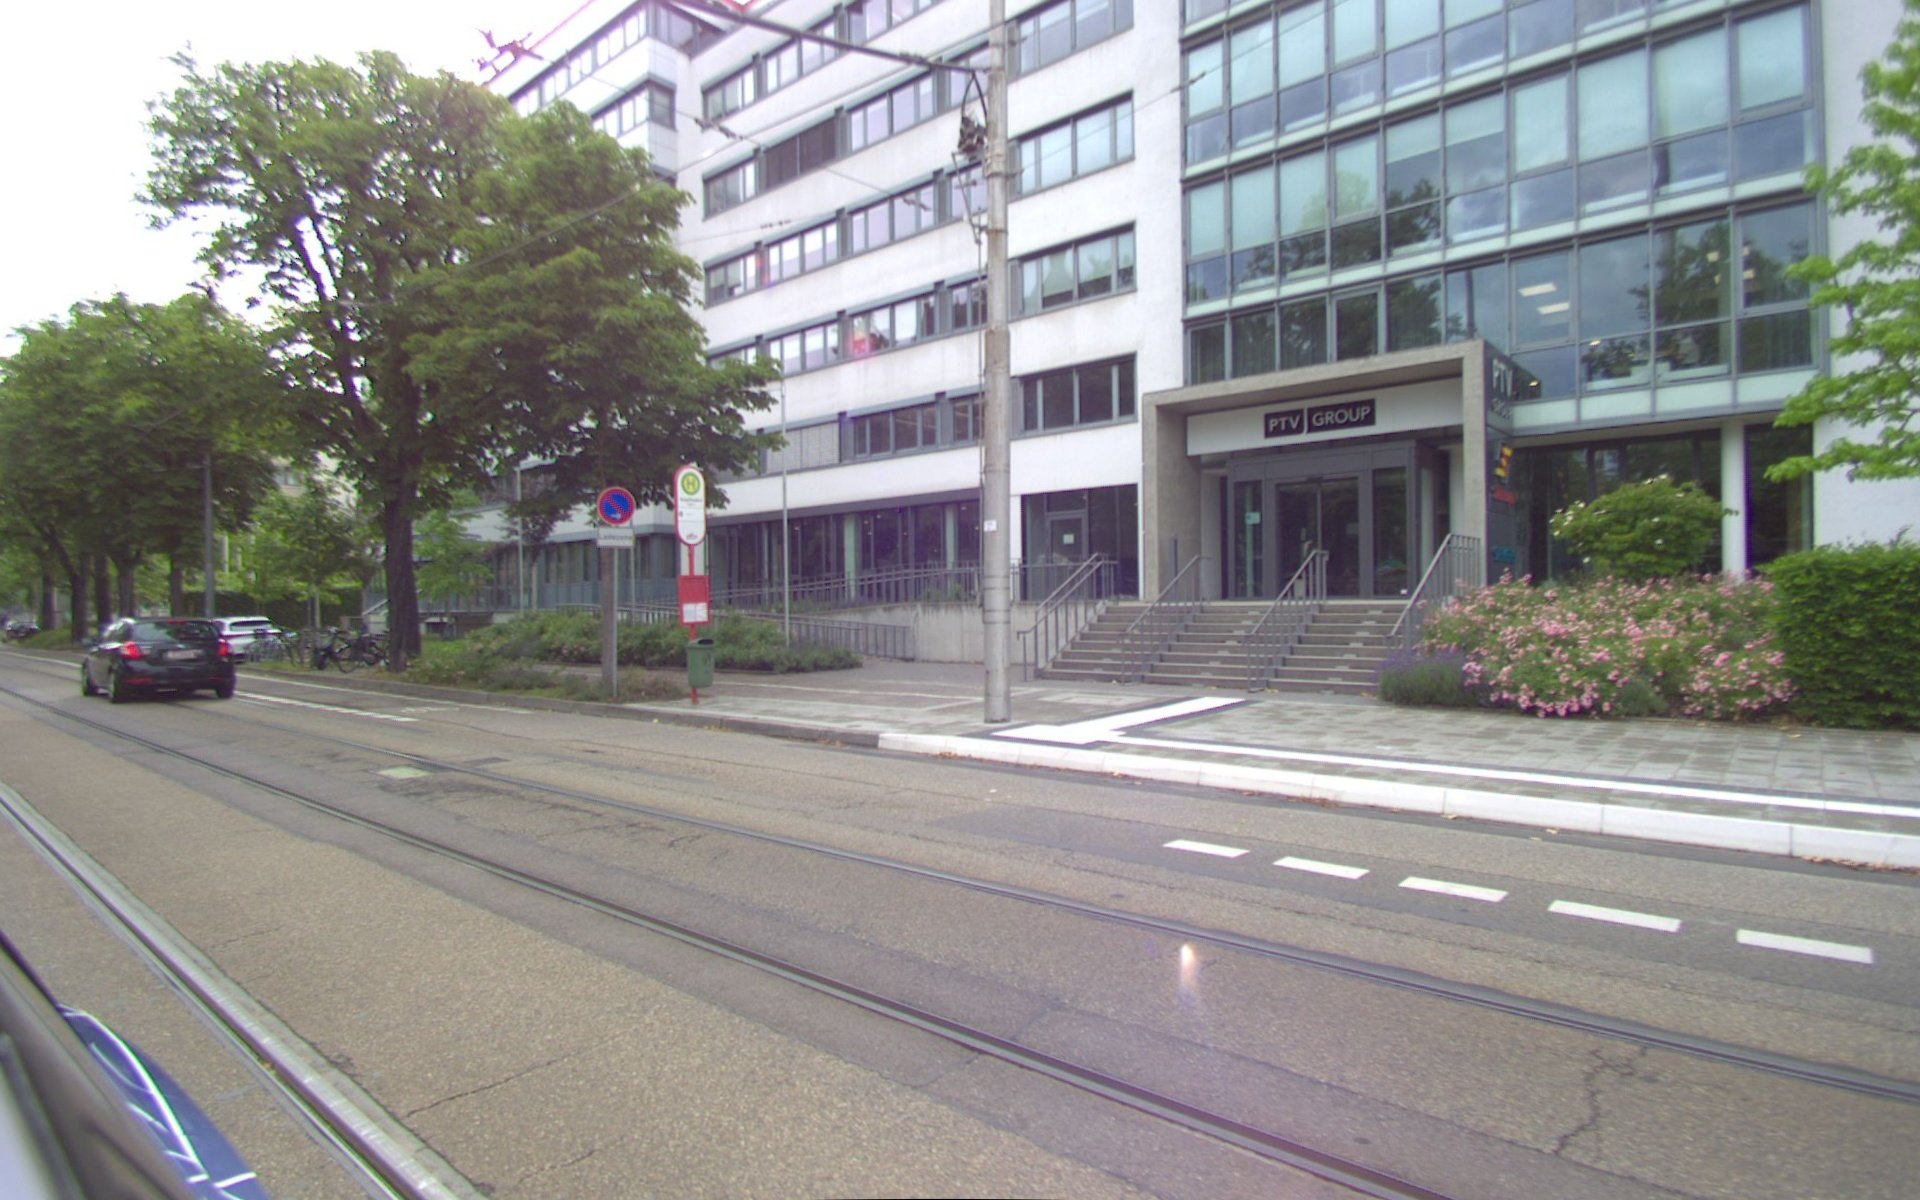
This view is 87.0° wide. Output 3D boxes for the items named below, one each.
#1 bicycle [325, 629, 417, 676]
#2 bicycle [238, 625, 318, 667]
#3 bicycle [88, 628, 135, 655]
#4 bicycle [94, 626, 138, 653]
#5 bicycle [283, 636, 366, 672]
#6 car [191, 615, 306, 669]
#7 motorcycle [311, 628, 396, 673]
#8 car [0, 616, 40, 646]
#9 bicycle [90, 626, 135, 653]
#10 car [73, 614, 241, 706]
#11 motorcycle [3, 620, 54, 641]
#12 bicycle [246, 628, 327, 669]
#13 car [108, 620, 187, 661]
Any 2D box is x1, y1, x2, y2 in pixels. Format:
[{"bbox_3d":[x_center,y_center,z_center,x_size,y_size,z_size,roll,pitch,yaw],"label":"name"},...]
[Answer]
[{"bbox_3d":[-14.424,1.260,24.815,0.739,1.061,1.814,-1,-1,32],"label":"bicycle"},{"bbox_3d":[-19.942,1.325,29.621,1.843,1.195,0.633,1,-2,-45],"label":"bicycle"},{"bbox_3d":[-37.450,1.830,44.667,0.614,1.100,1.460,-1,1,28],"label":"bicycle"},{"bbox_3d":[-37.989,1.776,45.578,0.617,1.149,1.454,-1,0,40],"label":"bicycle"},{"bbox_3d":[-17.222,1.456,27.459,0.631,0.906,1.790,0,-1,35],"label":"bicycle"},{"bbox_3d":[-22.369,1.281,31.736,4.751,1.504,1.862,-1,1,41],"label":"car"},{"bbox_3d":[-15.846,1.297,26.467,0.731,1.058,1.773,-1,0,34],"label":"motorcycle"},{"bbox_3d":[-60.671,1.969,65.197,4.002,1.722,1.791,0,1,44],"label":"car"},{"bbox_3d":[-38.399,1.780,45.875,0.617,1.149,1.454,-1,1,40],"label":"bicycle"},{"bbox_3d":[-14.748,1.047,18.520,4.061,1.497,1.729,-2,-2,41],"label":"car"},{"bbox_3d":[-54.351,1.782,59.066,2.100,1.111,0.776,-1,1,-8],"label":"motorcycle"},{"bbox_3d":[-19.181,1.373,28.852,0.631,1.108,1.790,0,-1,35],"label":"bicycle"},{"bbox_3d":[-32.412,1.579,40.340,3.752,1.458,1.613,-1,3,38],"label":"car"}]
